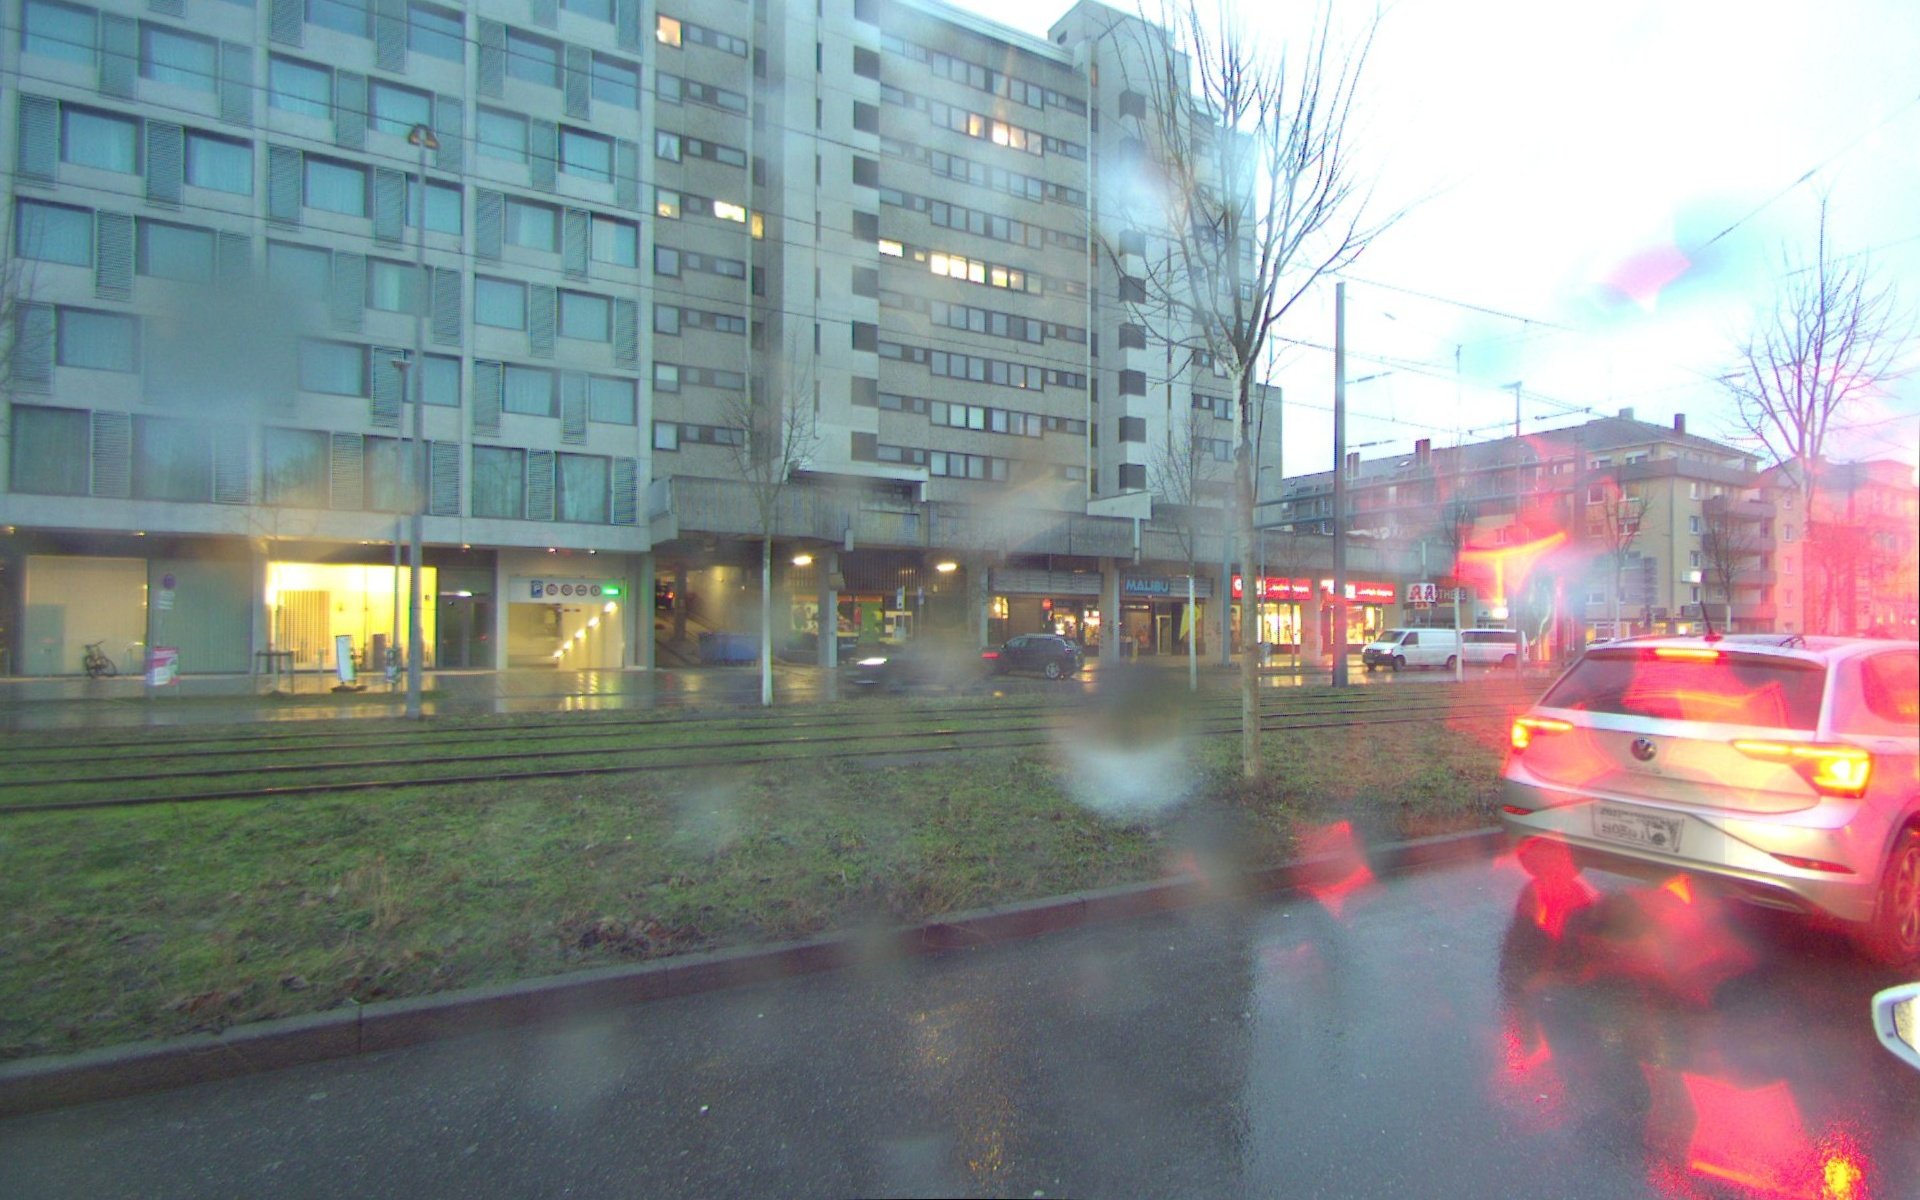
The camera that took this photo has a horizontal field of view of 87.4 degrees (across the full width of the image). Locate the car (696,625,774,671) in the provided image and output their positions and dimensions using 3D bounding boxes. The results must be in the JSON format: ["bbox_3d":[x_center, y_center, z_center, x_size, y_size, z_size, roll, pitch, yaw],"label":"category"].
[{"bbox_3d":[-9.025,1.867,40.013,1.709,1.718,4.336,1,-2,-32],"label":"car"}]

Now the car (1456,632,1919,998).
[{"bbox_3d":[4.830,0.918,5.737,3.936,1.389,1.753,2,-1,-31],"label":"car"}]

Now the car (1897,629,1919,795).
[{"bbox_3d":[10.590,1.025,9.168,4.562,1.424,1.837,2,-1,-31],"label":"car"}]

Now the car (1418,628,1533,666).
[{"bbox_3d":[27.059,2.440,52.894,5.059,1.937,2.001,0,-2,15],"label":"car"}]

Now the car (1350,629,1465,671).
[{"bbox_3d":[21.530,2.378,48.304,5.083,1.937,1.992,1,-2,-19],"label":"car"}]

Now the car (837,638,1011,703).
[{"bbox_3d":[-0.978,1.908,28.035,4.527,1.655,1.887,1,-2,-30],"label":"car"}]

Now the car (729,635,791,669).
[{"bbox_3d":[-8.749,2.249,43.762,1.580,1.377,3.411,1,-2,-32],"label":"car"}]

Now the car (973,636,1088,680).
[{"bbox_3d":[2.706,2.191,38.480,3.925,1.405,1.935,2,0,25],"label":"car"}]
